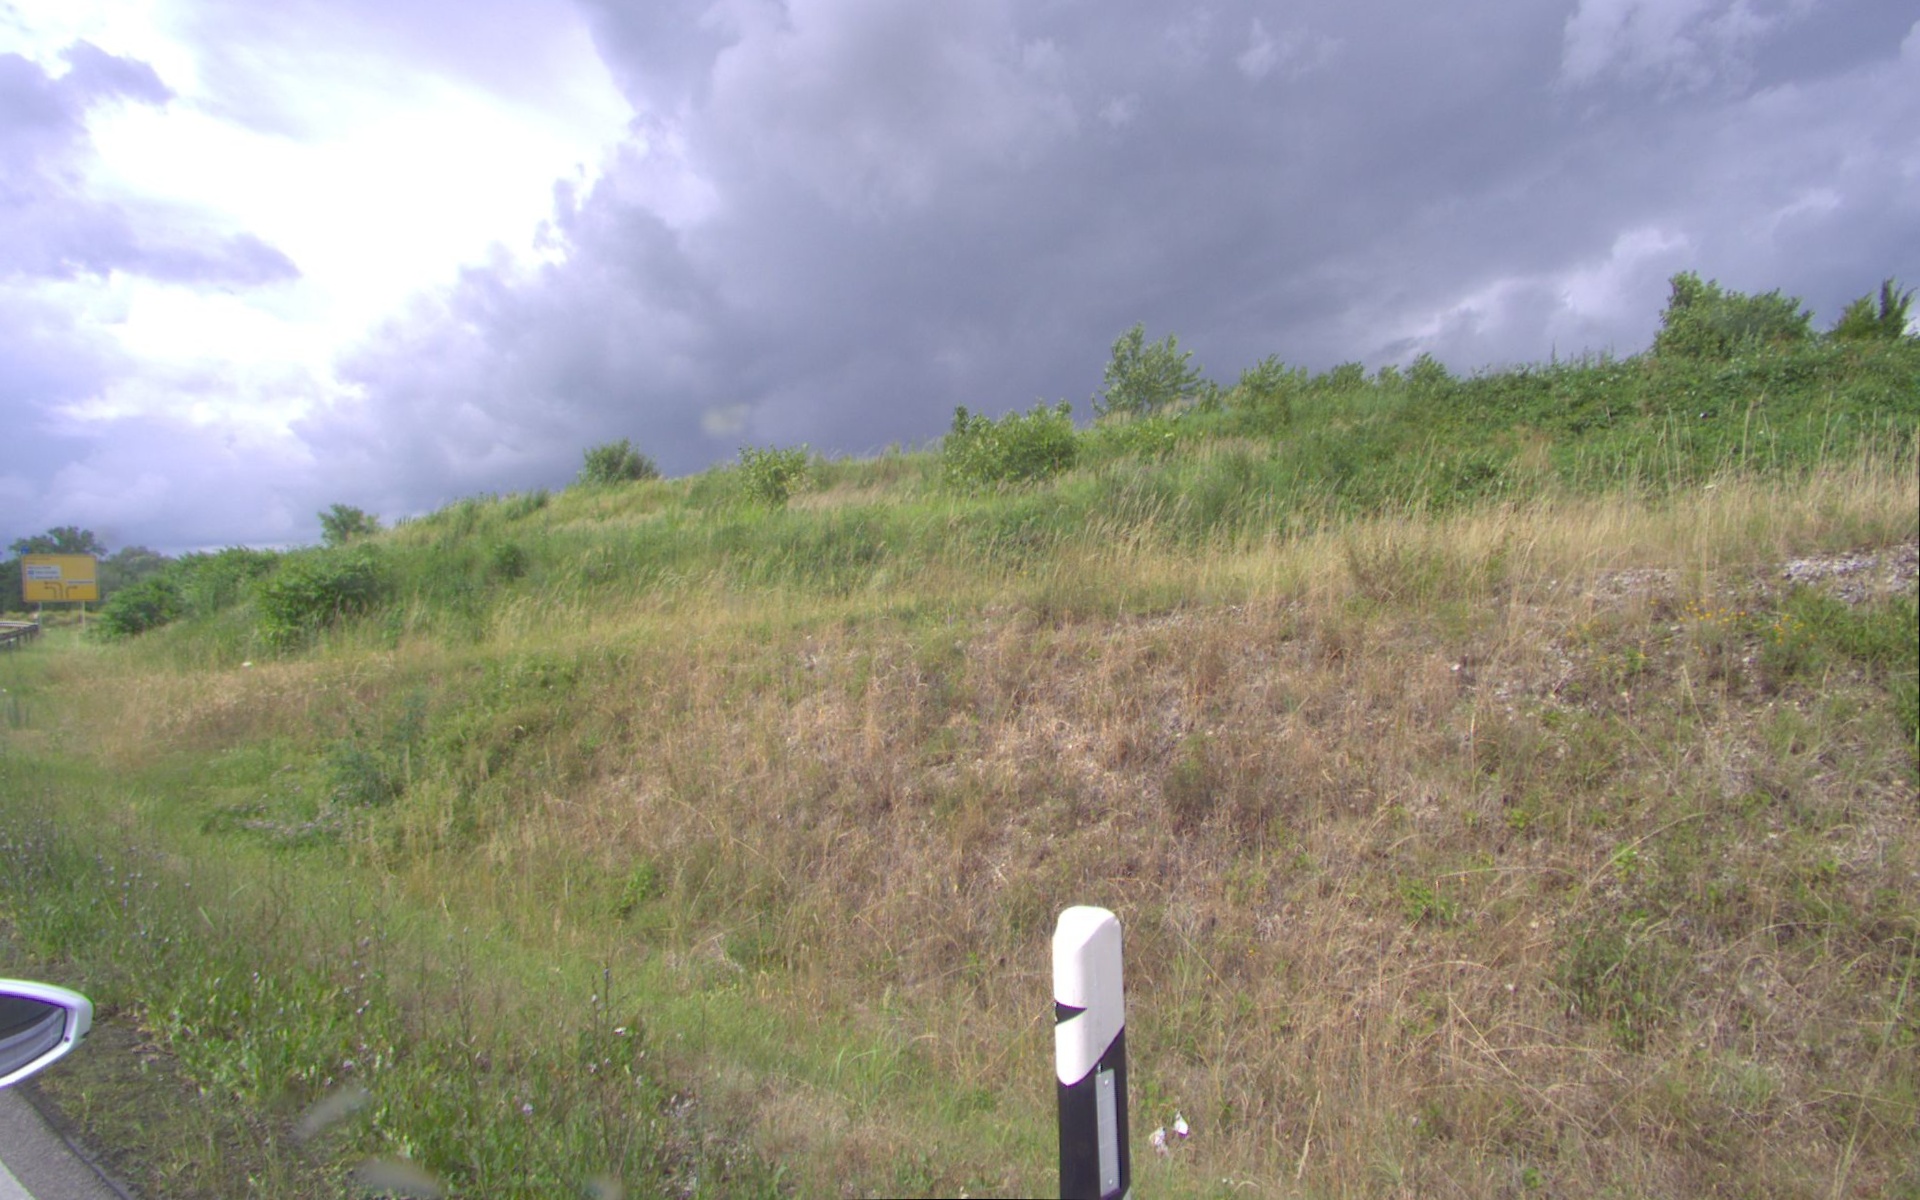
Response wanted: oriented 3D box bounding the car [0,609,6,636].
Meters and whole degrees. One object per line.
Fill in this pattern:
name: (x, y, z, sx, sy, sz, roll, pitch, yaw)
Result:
car: (-72.164, 1.678, 74.097, 4.448, 1.906, 2.083, -2, -2, 44)
